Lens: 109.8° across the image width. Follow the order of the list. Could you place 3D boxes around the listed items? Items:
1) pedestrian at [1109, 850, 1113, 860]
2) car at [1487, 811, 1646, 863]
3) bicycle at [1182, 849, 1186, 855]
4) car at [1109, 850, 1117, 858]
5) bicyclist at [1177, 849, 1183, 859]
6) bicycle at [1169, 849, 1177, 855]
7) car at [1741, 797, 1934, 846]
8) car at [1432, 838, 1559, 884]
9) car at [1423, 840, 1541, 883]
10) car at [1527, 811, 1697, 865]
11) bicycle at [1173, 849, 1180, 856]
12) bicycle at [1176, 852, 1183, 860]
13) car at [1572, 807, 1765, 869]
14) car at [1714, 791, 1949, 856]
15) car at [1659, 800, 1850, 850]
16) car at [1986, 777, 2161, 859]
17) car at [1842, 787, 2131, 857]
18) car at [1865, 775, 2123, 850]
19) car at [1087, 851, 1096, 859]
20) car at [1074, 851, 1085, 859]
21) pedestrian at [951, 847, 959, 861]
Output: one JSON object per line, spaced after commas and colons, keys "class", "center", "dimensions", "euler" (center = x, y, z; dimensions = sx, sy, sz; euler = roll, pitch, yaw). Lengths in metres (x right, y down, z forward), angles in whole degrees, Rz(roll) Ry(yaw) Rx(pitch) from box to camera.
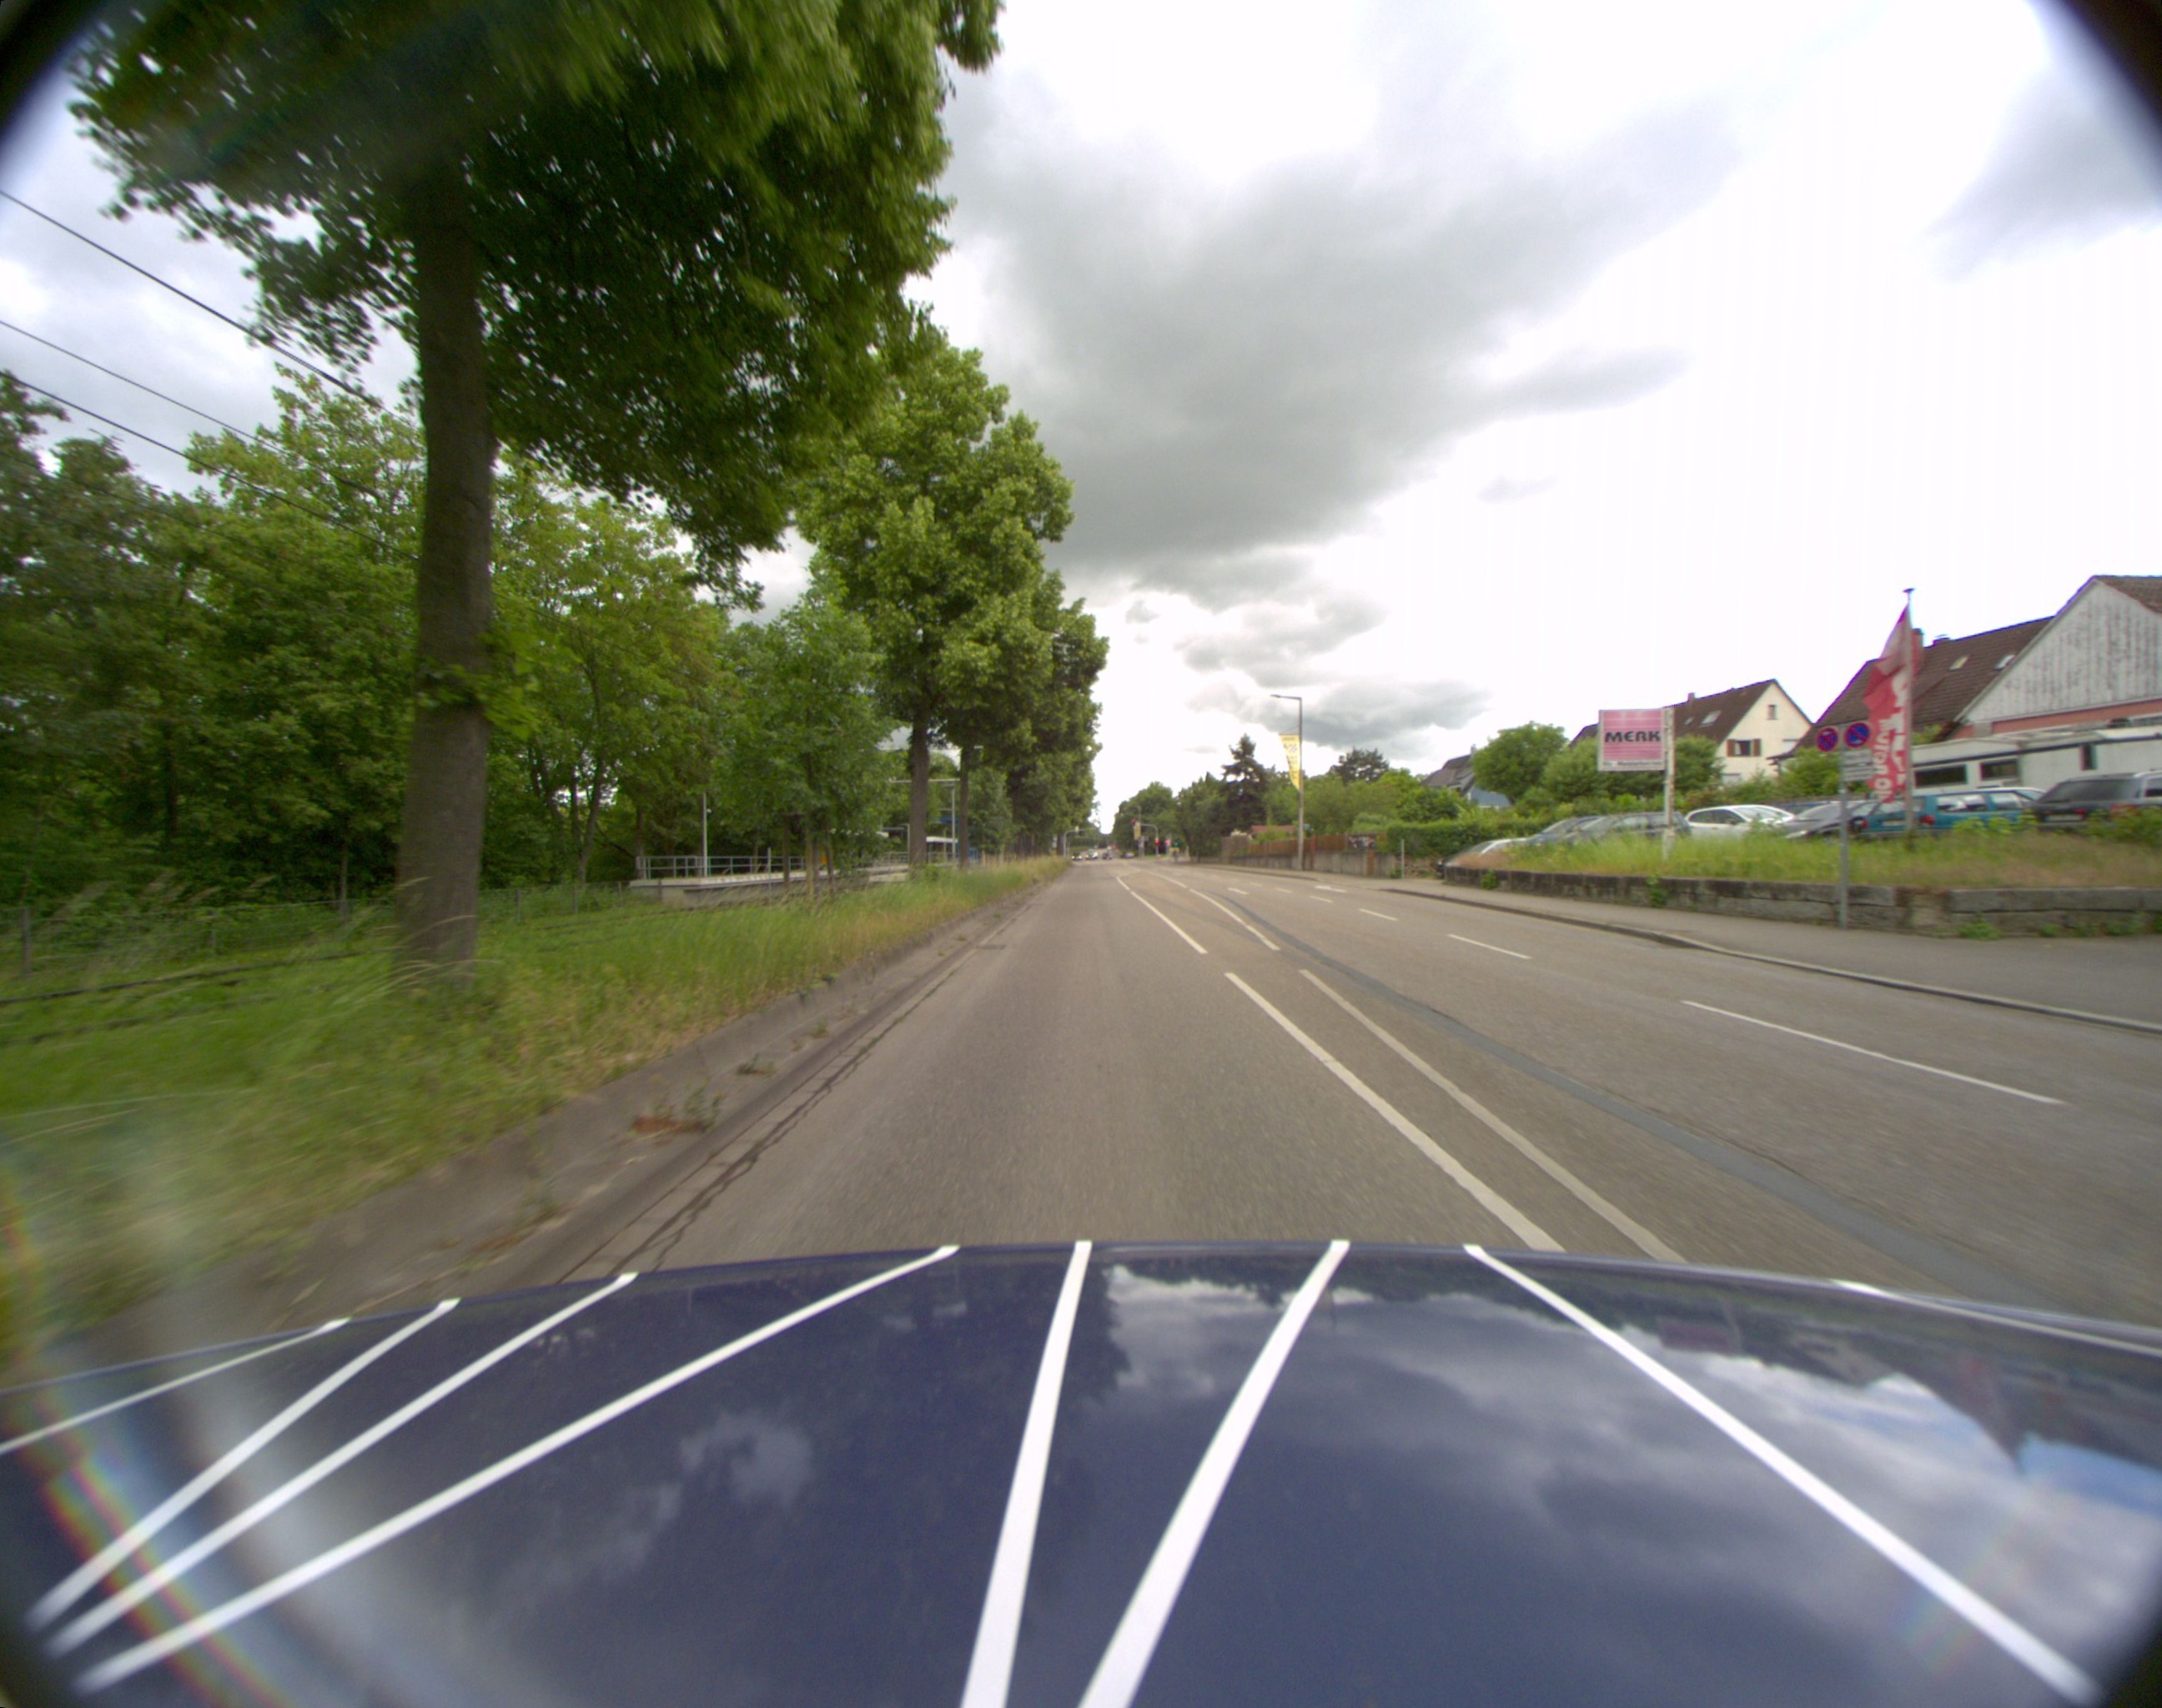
{"class": "pedestrian", "center": [5.469, 0.212, 139.061], "dimensions": [0.753, 1.727, 0.840], "euler": [2, 1, 5]}
{"class": "car", "center": [15.882, -0.549, 25.037], "dimensions": [3.995, 1.488, 1.859], "euler": [-2, 1, 5]}
{"class": "bicycle", "center": [20.441, -0.373, 150.751], "dimensions": [0.544, 1.245, 1.937], "euler": [-2, 1, 17]}
{"class": "car", "center": [6.178, 0.008, 147.306], "dimensions": [1.560, 1.458, 3.807], "euler": [1, 1, 1]}
{"class": "bicyclist", "center": [14.860, 0.013, 114.497], "dimensions": [0.644, 1.526, 0.978], "euler": [-3, 1, -4]}
{"class": "bicycle", "center": [18.375, -0.366, 152.238], "dimensions": [0.544, 1.245, 1.939], "euler": [-2, 1, 38]}
{"class": "car", "center": [22.969, -0.944, 23.341], "dimensions": [1.673, 1.311, 4.286], "euler": [-3, 1, 0]}
{"class": "car", "center": [16.631, 0.250, 30.622], "dimensions": [3.996, 1.608, 2.000], "euler": [-3, 1, 2]}
{"class": "car", "center": [17.291, 0.297, 32.918], "dimensions": [3.996, 1.594, 2.000], "euler": [-3, 1, 2]}
{"class": "car", "center": [16.095, -0.475, 23.166], "dimensions": [3.995, 1.403, 1.534], "euler": [-2, 1, 5]}
{"class": "bicycle", "center": [19.092, -0.332, 151.870], "dimensions": [0.544, 1.245, 1.939], "euler": [-1, 2, 38]}
{"class": "bicycle", "center": [14.864, 0.337, 114.506], "dimensions": [0.644, 1.138, 2.147], "euler": [-3, 0, -4]}
{"class": "car", "center": [16.273, -0.439, 21.207], "dimensions": [3.995, 1.484, 1.648], "euler": [-2, 1, 5]}
{"class": "car", "center": [18.614, -0.732, 19.018], "dimensions": [3.848, 1.370, 1.918], "euler": [-2, 1, 5]}
{"class": "car", "center": [20.270, -0.805, 23.174], "dimensions": [1.852, 1.334, 4.400], "euler": [-1, 0, -2]}
{"class": "car", "center": [19.760, -0.709, 13.822], "dimensions": [3.995, 1.362, 2.000], "euler": [-2, 1, 5]}
{"class": "car", "center": [19.515, -0.670, 16.533], "dimensions": [3.940, 1.261, 1.886], "euler": [-3, 1, 2]}
{"class": "car", "center": [22.986, -1.011, 19.292], "dimensions": [3.995, 1.619, 1.934], "euler": [-2, 1, 5]}
{"class": "car", "center": [2.058, 0.101, 147.768], "dimensions": [1.708, 1.472, 3.667], "euler": [-1, 1, 1]}
{"class": "car", "center": [-0.243, 0.176, 146.164], "dimensions": [1.807, 1.520, 3.928], "euler": [-2, 1, 2]}
{"class": "pedestrian", "center": [-14.530, 0.012, 87.600], "dimensions": [0.720, 1.503, 0.724], "euler": [-2, 2, 3]}
